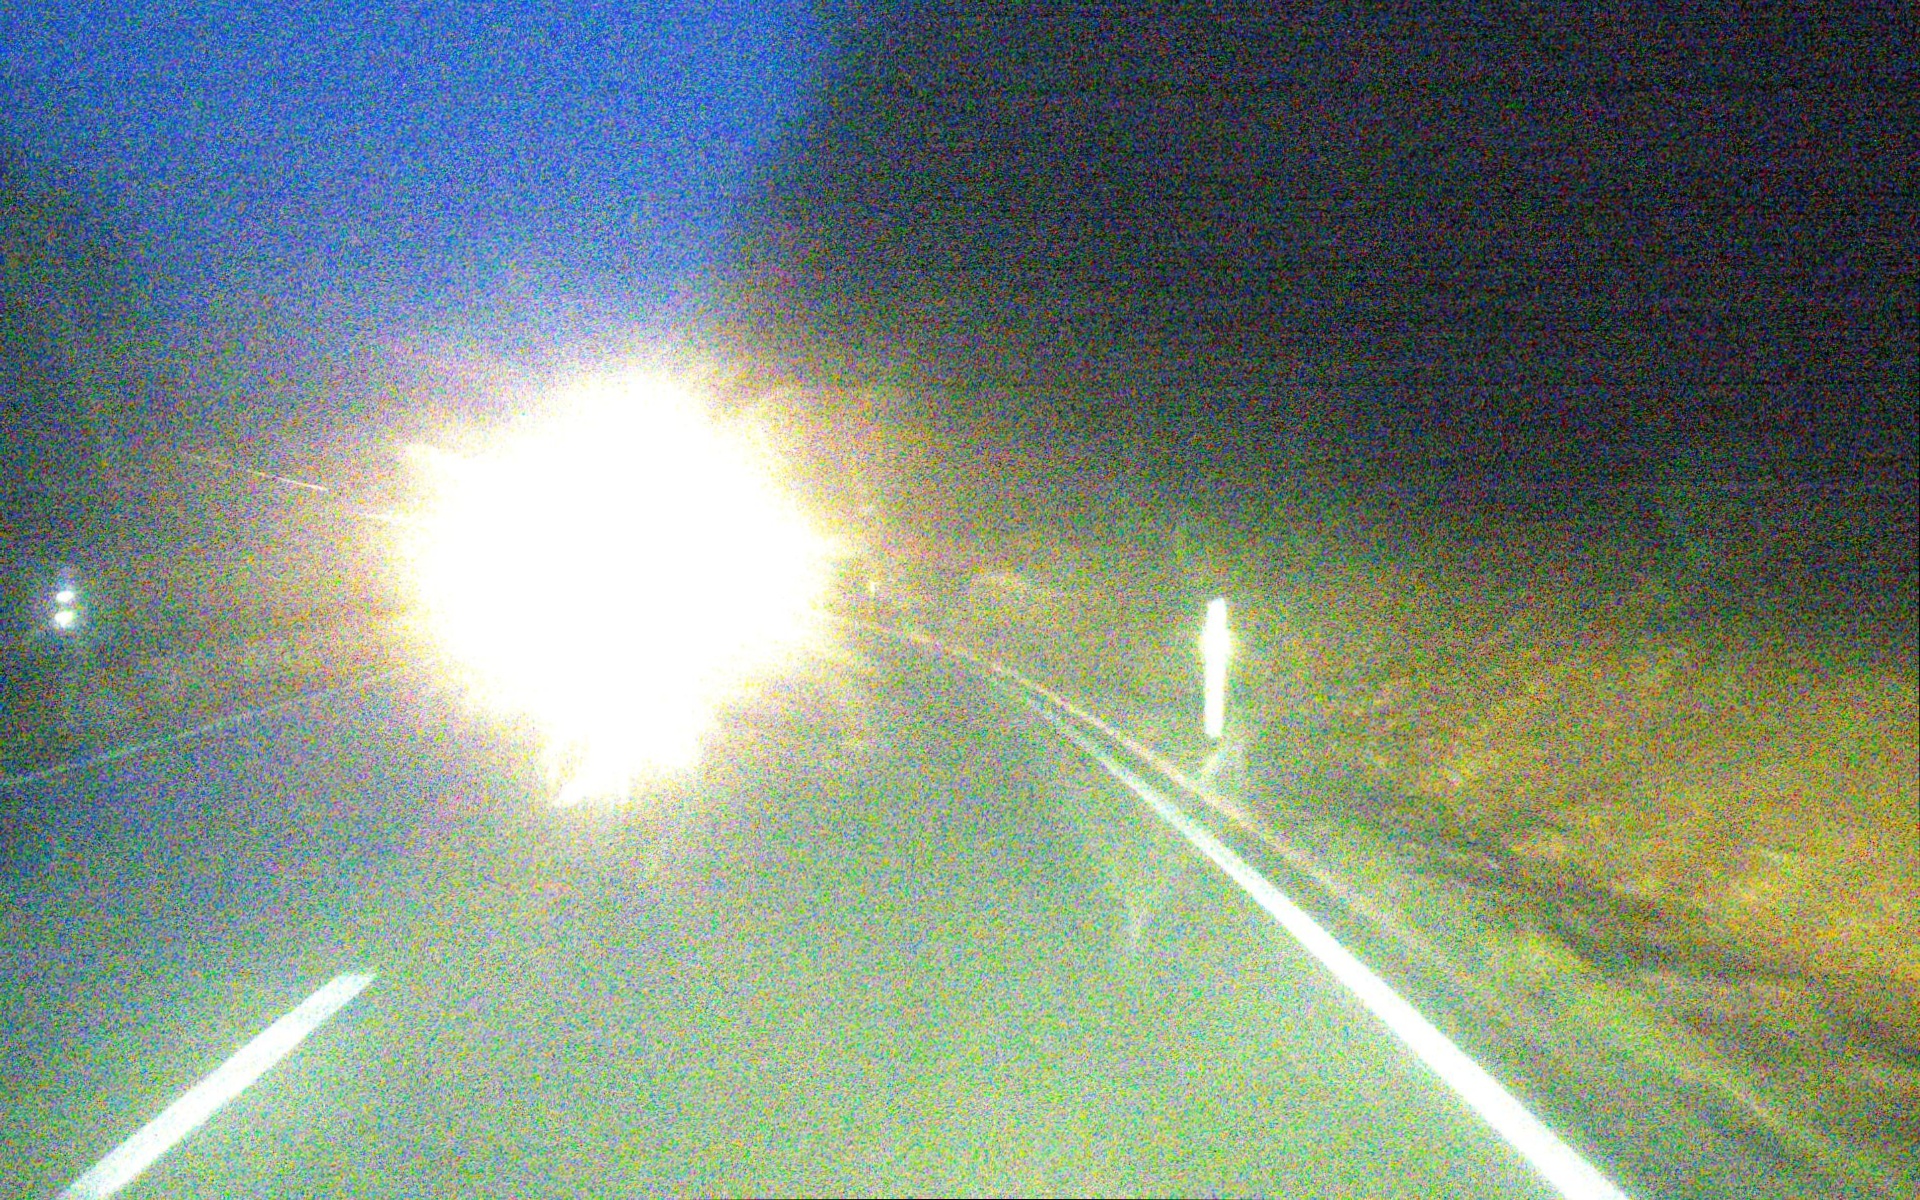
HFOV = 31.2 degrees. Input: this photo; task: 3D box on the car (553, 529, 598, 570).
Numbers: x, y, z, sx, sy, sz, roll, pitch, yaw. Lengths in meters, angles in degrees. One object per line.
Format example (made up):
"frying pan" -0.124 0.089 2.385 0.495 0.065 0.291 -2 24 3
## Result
"car" -15.662 -2.081 140.186 1.721 1.607 4.003 1 1 -6
